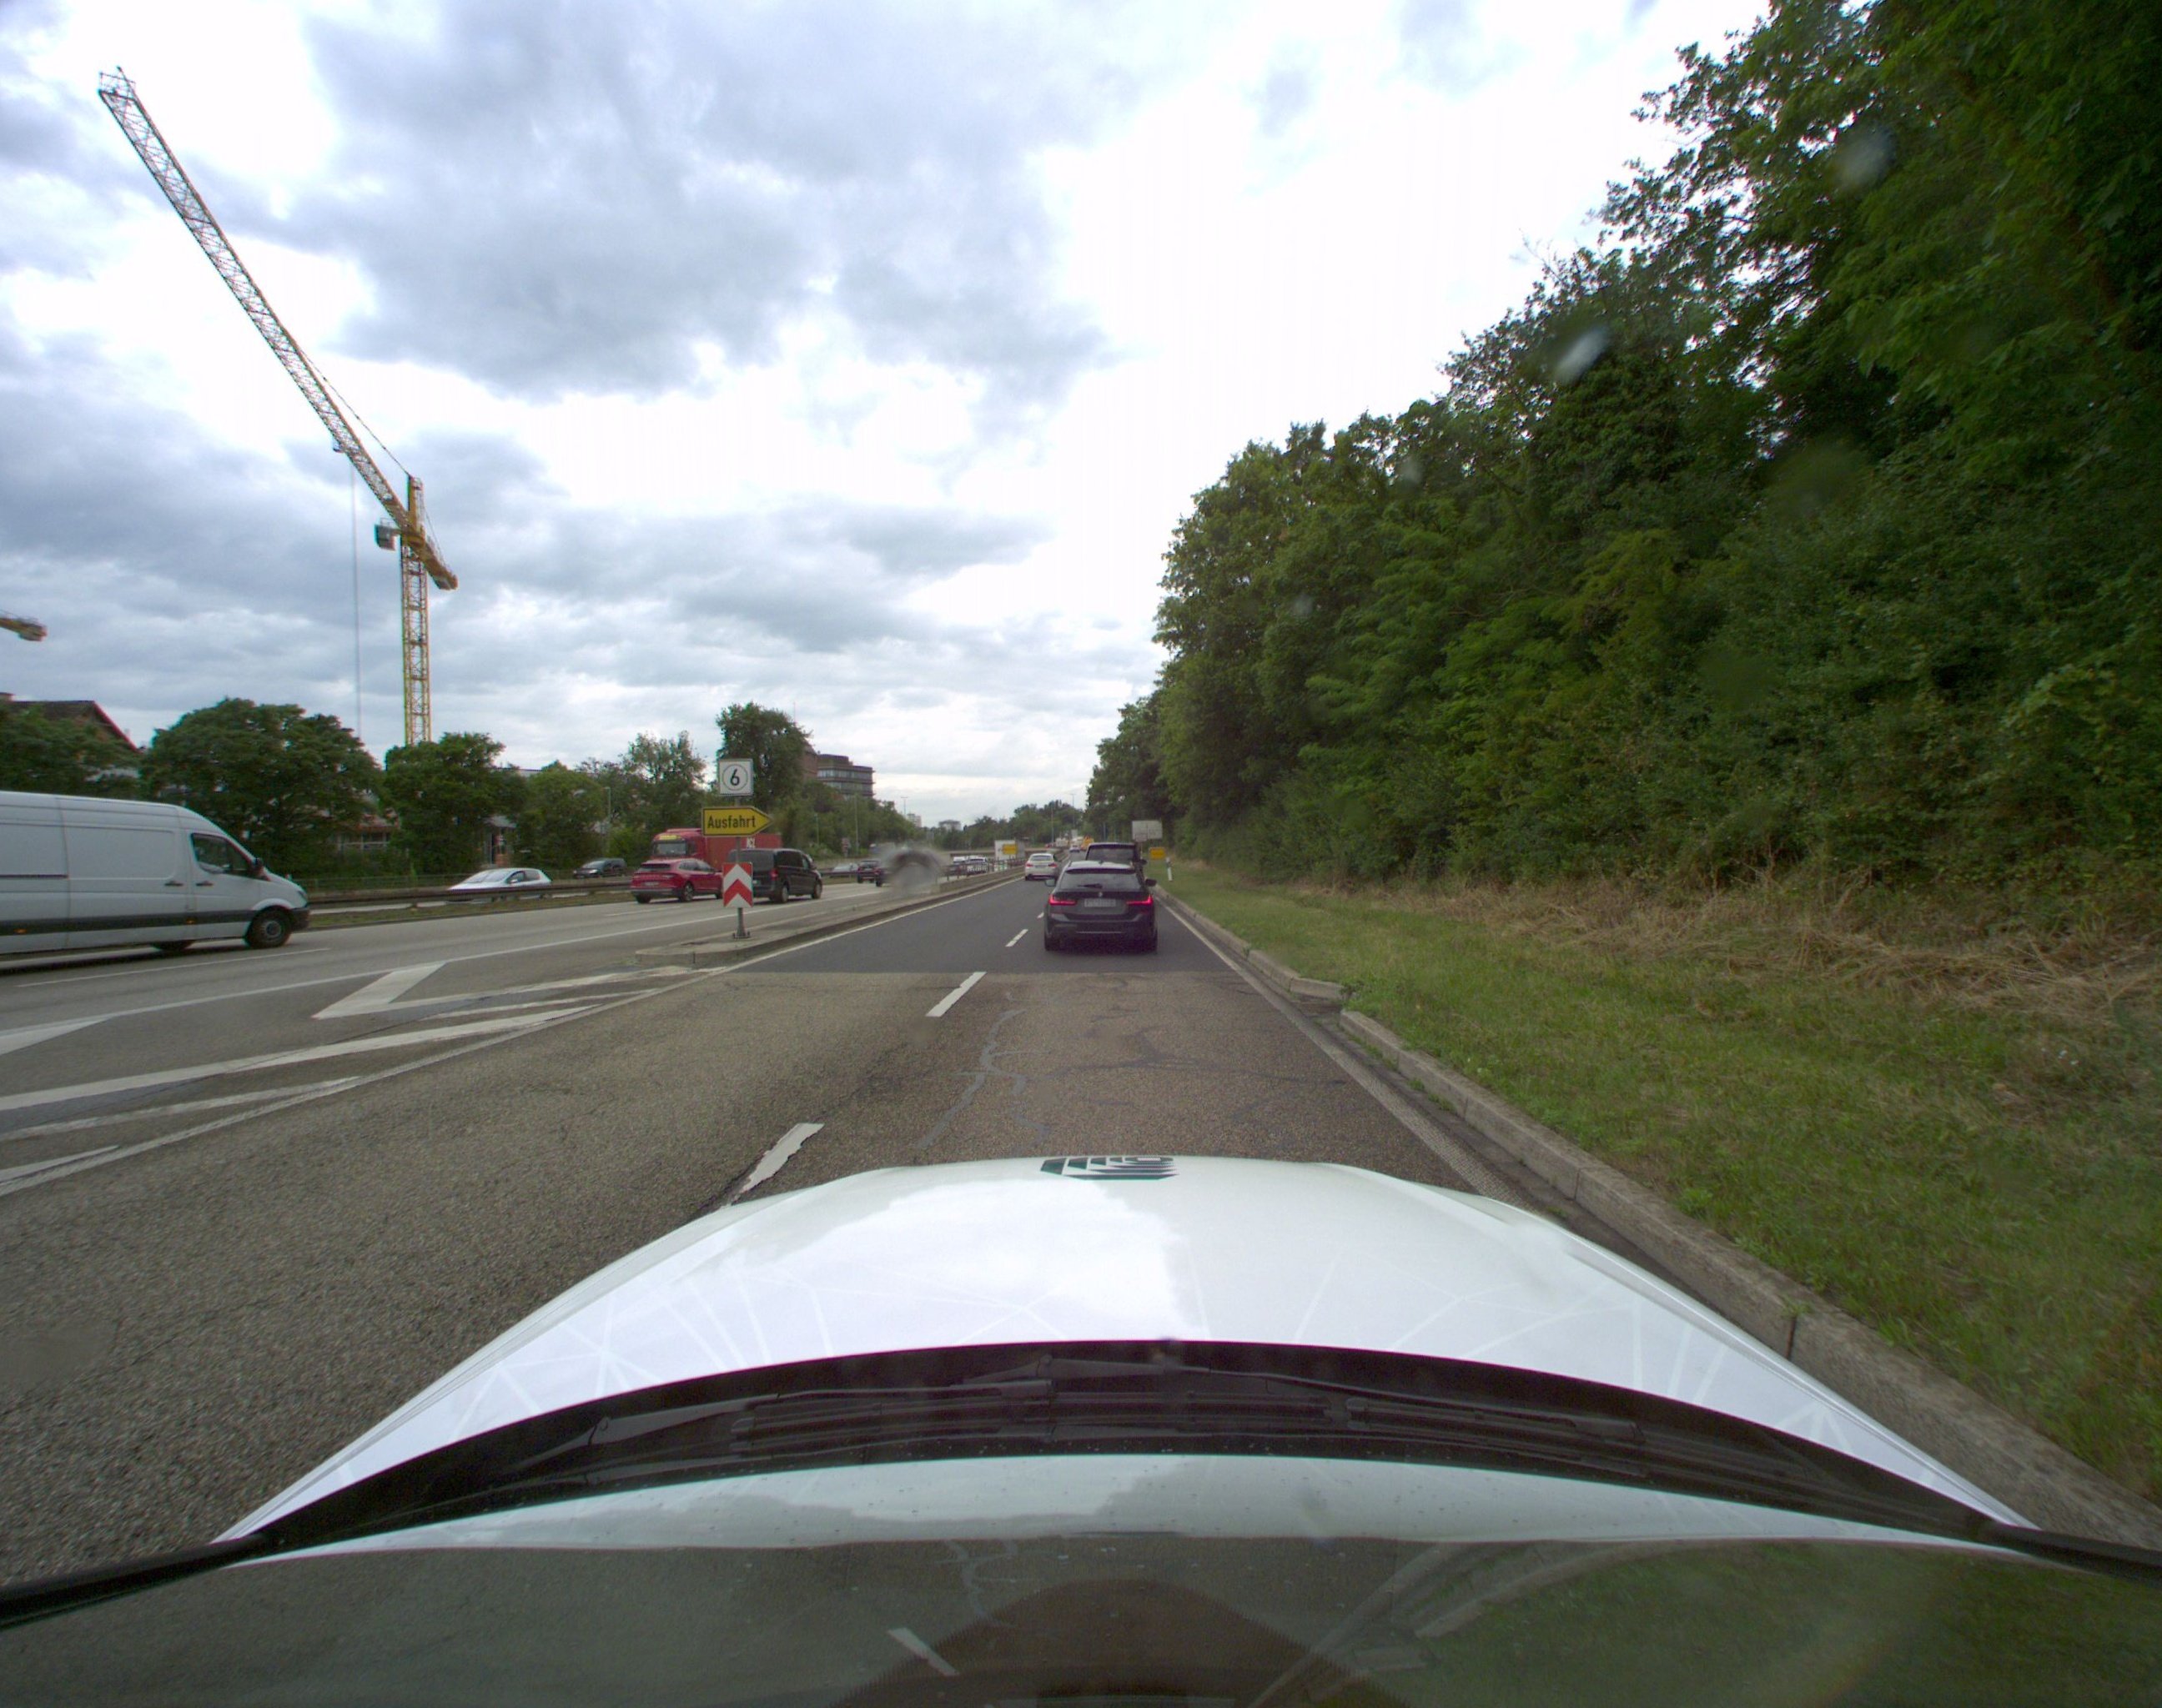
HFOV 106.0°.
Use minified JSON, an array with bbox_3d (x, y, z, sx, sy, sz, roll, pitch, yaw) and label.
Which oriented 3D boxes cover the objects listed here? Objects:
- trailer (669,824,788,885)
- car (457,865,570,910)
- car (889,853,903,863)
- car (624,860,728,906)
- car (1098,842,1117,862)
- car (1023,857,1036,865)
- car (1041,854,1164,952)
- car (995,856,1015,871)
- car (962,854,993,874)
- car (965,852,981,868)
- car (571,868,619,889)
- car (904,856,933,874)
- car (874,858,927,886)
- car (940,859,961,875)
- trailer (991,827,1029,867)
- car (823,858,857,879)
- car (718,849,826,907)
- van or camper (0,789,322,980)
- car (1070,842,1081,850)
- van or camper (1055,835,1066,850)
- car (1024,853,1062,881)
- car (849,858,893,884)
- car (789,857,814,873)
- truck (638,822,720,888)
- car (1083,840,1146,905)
[{"bbox_3d":[-26.082,0.032,61.376,2.754,4.064,13.358,-1,0,2],"label":"trailer"},{"bbox_3d":[-22.449,1.261,32.415,1.591,1.592,4.001,-1,0,1],"label":"car"},{"bbox_3d":[-34.439,0.788,151.496,1.649,1.836,3.624,-1,0,2],"label":"car"},{"bbox_3d":[-15.065,1.029,30.551,1.759,1.567,3.947,-1,0,3],"label":"car"},{"bbox_3d":[2.153,-0.133,65.147,1.447,1.540,3.226,-1,0,2],"label":"car"},{"bbox_3d":[-12.980,1.757,204.775,3.198,2.028,5.066,-1,0,-6],"label":"car"},{"bbox_3d":[0.334,0.731,14.192,1.840,1.467,3.999,0,0,0],"label":"car"},{"bbox_3d":[-8.213,0.978,87.997,1.763,1.549,3.493,-1,0,0],"label":"car"},{"bbox_3d":[-9.200,0.875,72.653,1.938,1.692,4.509,-1,0,2],"label":"car"},{"bbox_3d":[-13.849,0.776,104.438,1.438,2.044,3.683,-1,0,3],"label":"car"},{"bbox_3d":[-34.629,1.719,58.156,1.329,1.407,3.420,-1,0,0],"label":"car"},{"bbox_3d":[-14.516,0.972,72.907,1.682,1.608,4.008,0,0,0],"label":"car"},{"bbox_3d":[-10.070,0.986,45.712,1.706,1.457,4.669,-1,0,2],"label":"car"},{"bbox_3d":[-14.592,1.447,91.458,1.682,1.632,3.734,0,0,0],"label":"car"},{"bbox_3d":[-8.749,-0.782,102.893,3.121,4.725,14.563,0,0,2],"label":"trailer"},{"bbox_3d":[-21.742,1.296,73.596,1.767,1.719,4.001,-1,0,1],"label":"car"},{"bbox_3d":[-10.890,0.783,29.129,1.987,1.851,4.811,-1,0,0],"label":"car"},{"bbox_3d":[-15.821,0.442,12.306,2.042,2.621,6.957,-1,0,1],"label":"van or camper"},{"bbox_3d":[-1.106,-1.635,163.090,1.927,1.596,3.872,-1,0,-3],"label":"car"},{"bbox_3d":[-4.062,-2.272,159.292,1.988,2.821,3.998,-1,0,-1],"label":"van or camper"},{"bbox_3d":[-2.107,0.686,46.186,1.852,1.464,4.885,0,0,1],"label":"car"},{"bbox_3d":[-14.812,1.161,57.681,1.884,1.681,4.306,-1,0,0],"label":"car"},{"bbox_3d":[-33.931,1.308,98.838,1.678,1.816,3.430,-1,0,2],"label":"car"},{"bbox_3d":[-26.312,0.058,53.495,2.753,4.064,4.909,-1,0,2],"label":"truck"},{"bbox_3d":[1.044,0.544,25.679,1.789,1.872,4.002,-1,0,2],"label":"car"}]
